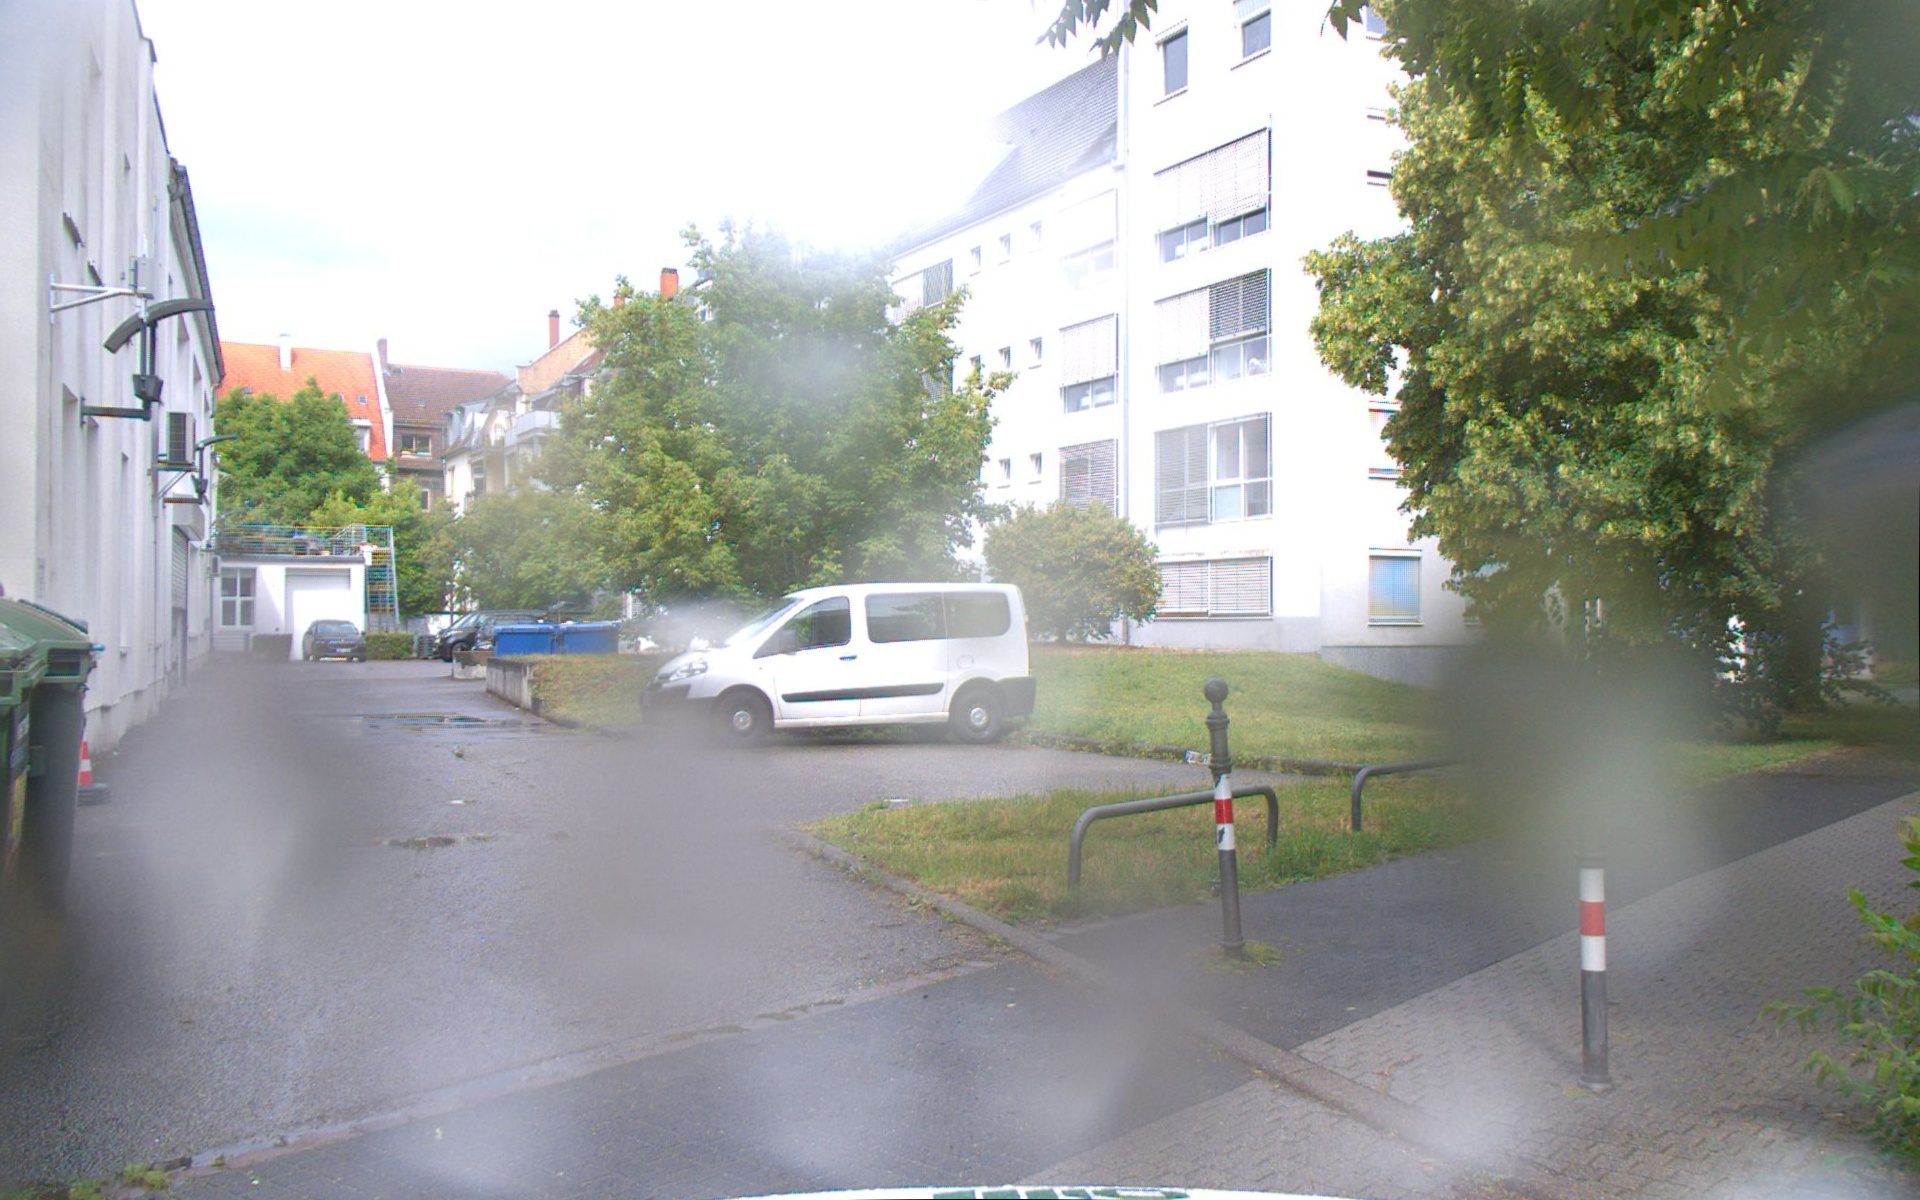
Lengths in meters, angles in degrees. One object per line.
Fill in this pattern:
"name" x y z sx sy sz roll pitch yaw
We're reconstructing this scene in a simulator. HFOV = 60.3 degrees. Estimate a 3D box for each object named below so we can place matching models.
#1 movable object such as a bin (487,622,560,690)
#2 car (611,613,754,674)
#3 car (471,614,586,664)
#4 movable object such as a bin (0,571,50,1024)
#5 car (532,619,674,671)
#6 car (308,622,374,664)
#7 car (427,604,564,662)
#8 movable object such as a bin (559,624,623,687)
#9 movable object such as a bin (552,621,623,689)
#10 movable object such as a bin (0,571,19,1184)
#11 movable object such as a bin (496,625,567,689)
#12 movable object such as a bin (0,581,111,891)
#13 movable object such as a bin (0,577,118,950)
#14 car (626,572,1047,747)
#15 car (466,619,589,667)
"movable object such as a bin" -8.948 1.134 33.875 1.318 1.314 1.088 -1 0 -22
"car" -7.344 1.142 43.797 3.374 1.452 1.674 -2 -1 -26
"car" -15.898 1.436 60.953 3.860 1.717 1.802 -1 -1 -25
"movable object such as a bin" -3.940 0.653 5.902 1.151 1.509 1.390 1 0 -28
"car" -11.000 1.356 51.013 3.943 1.484 1.756 -1 -1 -29
"car" -22.669 1.551 60.473 1.954 1.469 3.967 1 -1 -25
"car" -17.738 1.232 63.236 4.595 2.038 2.199 -1 0 -34
"movable object such as a bin" -8.076 1.196 36.175 1.169 1.327 1.099 -1 -1 -23
"movable object such as a bin" -7.764 1.126 34.462 1.274 1.360 1.189 -1 -1 -22
"movable object such as a bin" -2.706 0.660 3.237 1.082 1.499 1.480 1 -1 -13
"movable object such as a bin" -9.243 1.214 35.635 1.352 1.327 1.076 -1 -1 -22
"movable object such as a bin" -5.156 0.687 8.735 1.151 1.509 1.579 -1 -1 -28
"movable object such as a bin" -4.395 0.685 7.310 1.151 1.509 1.483 -1 -1 -28
"car" -1.525 0.733 20.389 4.805 1.960 2.085 1 -2 -22
"car" -15.092 1.486 57.735 3.866 1.540 1.735 -1 -1 -29
